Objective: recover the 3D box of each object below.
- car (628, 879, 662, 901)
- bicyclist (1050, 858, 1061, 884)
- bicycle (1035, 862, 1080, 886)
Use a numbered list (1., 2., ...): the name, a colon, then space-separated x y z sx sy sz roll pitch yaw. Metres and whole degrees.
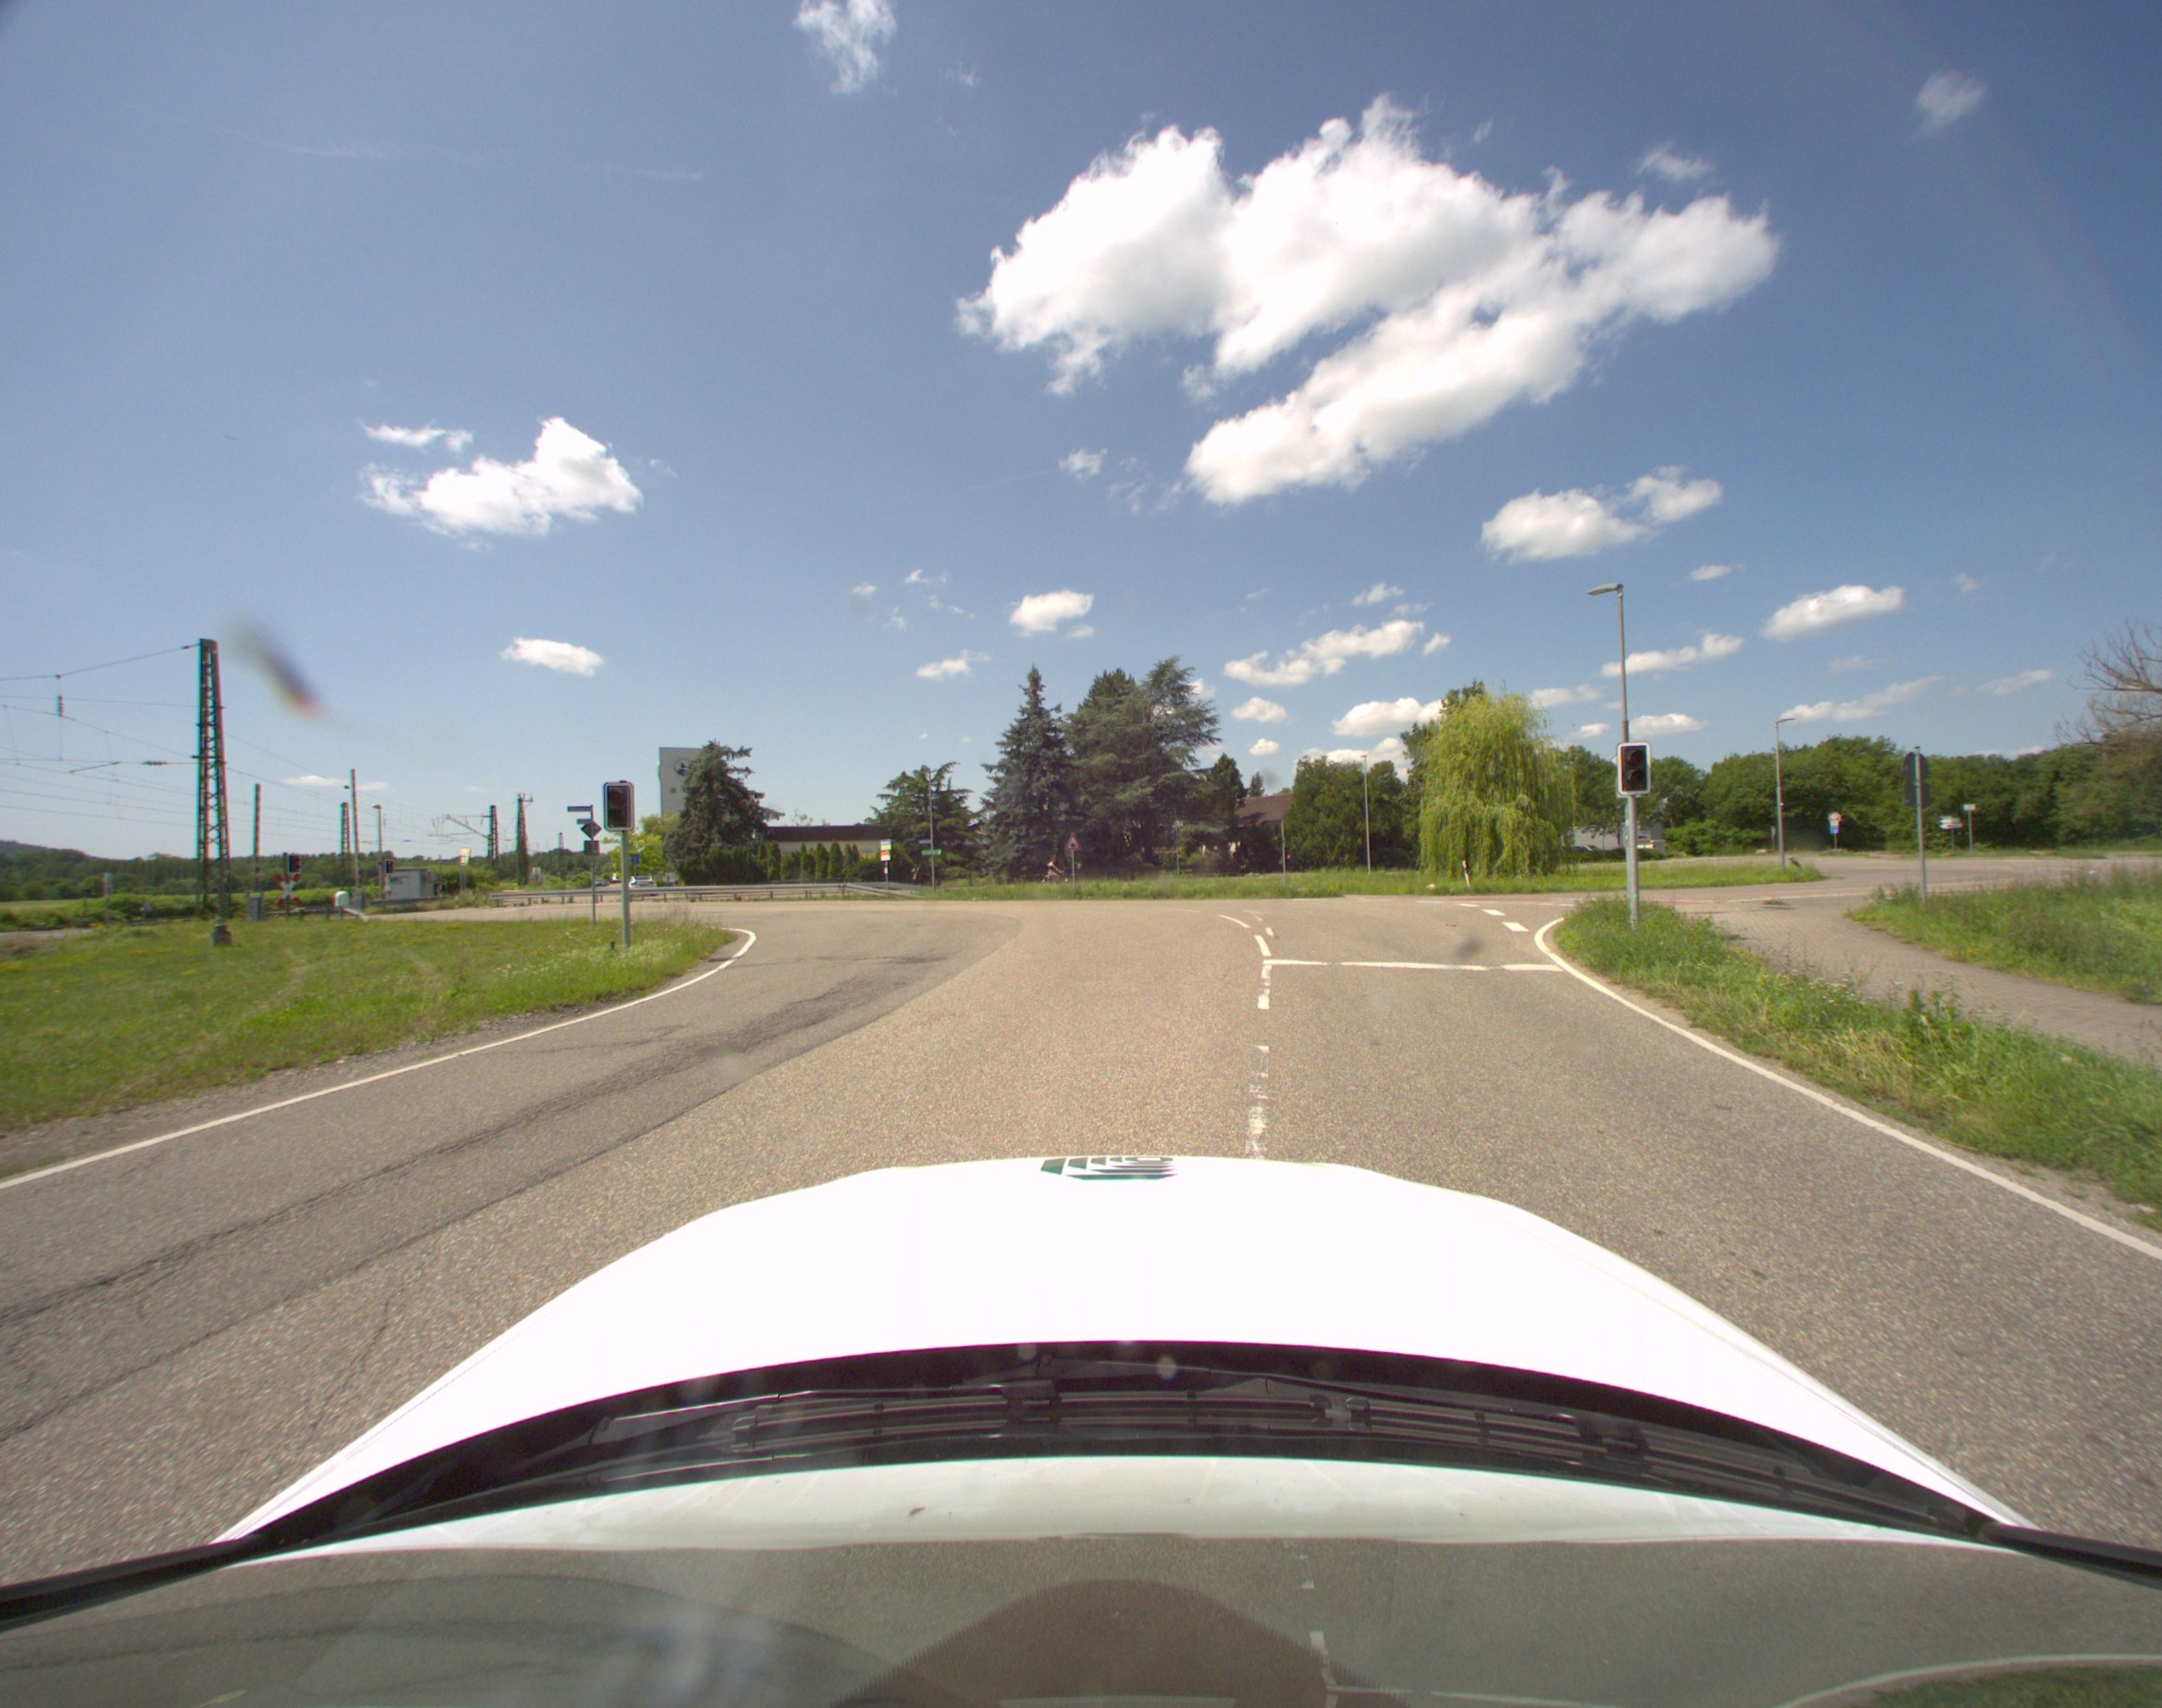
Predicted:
1. car: -33.690 2.758 62.883 2.007 1.510 4.409 -2 0 -32
2. bicyclist: -1.284 0.846 40.881 0.509 1.255 0.468 -2 -1 -8
3. bicycle: -1.184 0.996 40.925 2.138 1.165 0.659 -2 0 -9
